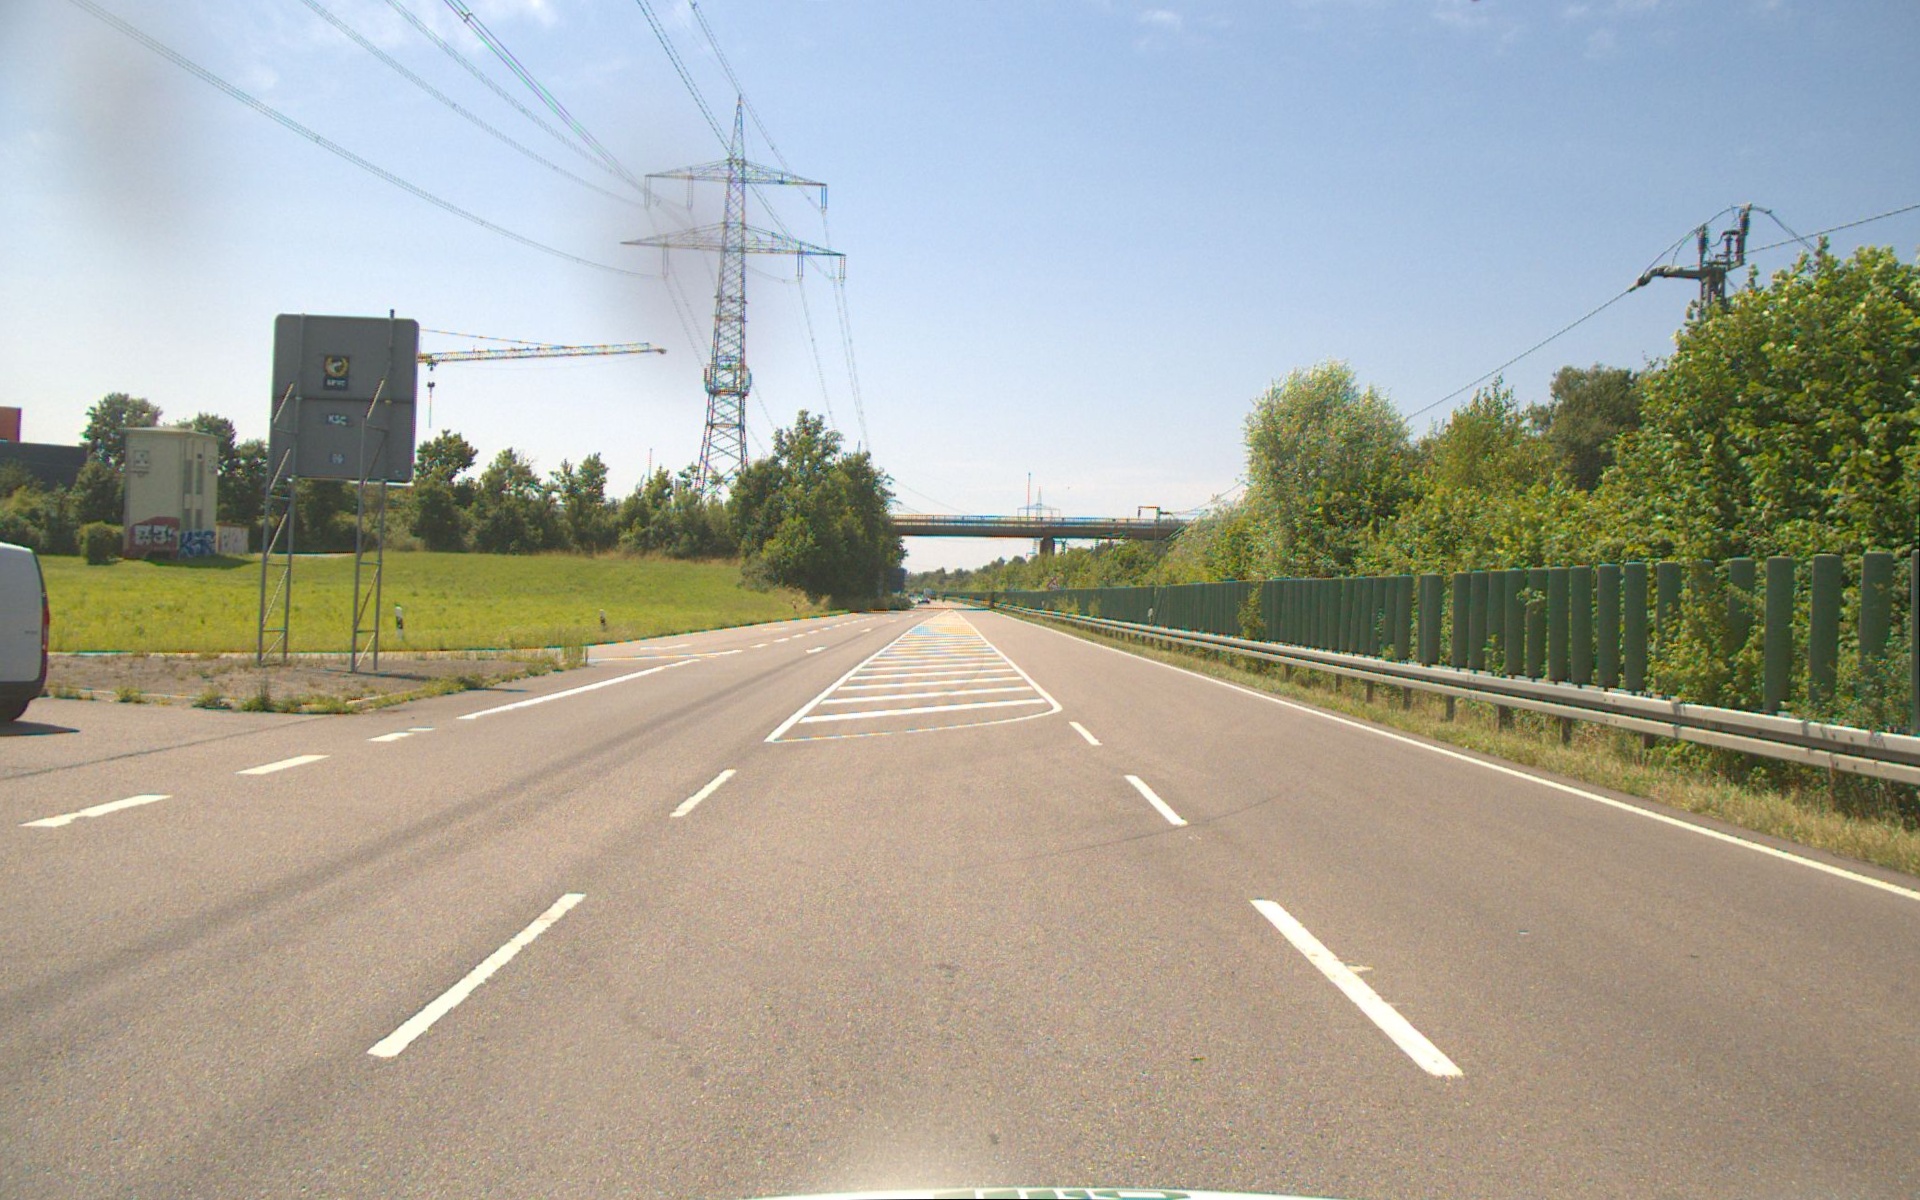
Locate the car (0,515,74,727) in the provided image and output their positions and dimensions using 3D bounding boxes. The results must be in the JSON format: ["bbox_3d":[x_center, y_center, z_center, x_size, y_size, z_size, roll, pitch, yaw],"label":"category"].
[{"bbox_3d":[-10.934,0.082,16.321,3.909,2.004,1.832,4,1,25],"label":"car"}]

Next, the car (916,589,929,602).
[{"bbox_3d":[-5.785,-0.687,257.673,1.953,2.049,3.999,2,0,-1],"label":"car"}]
